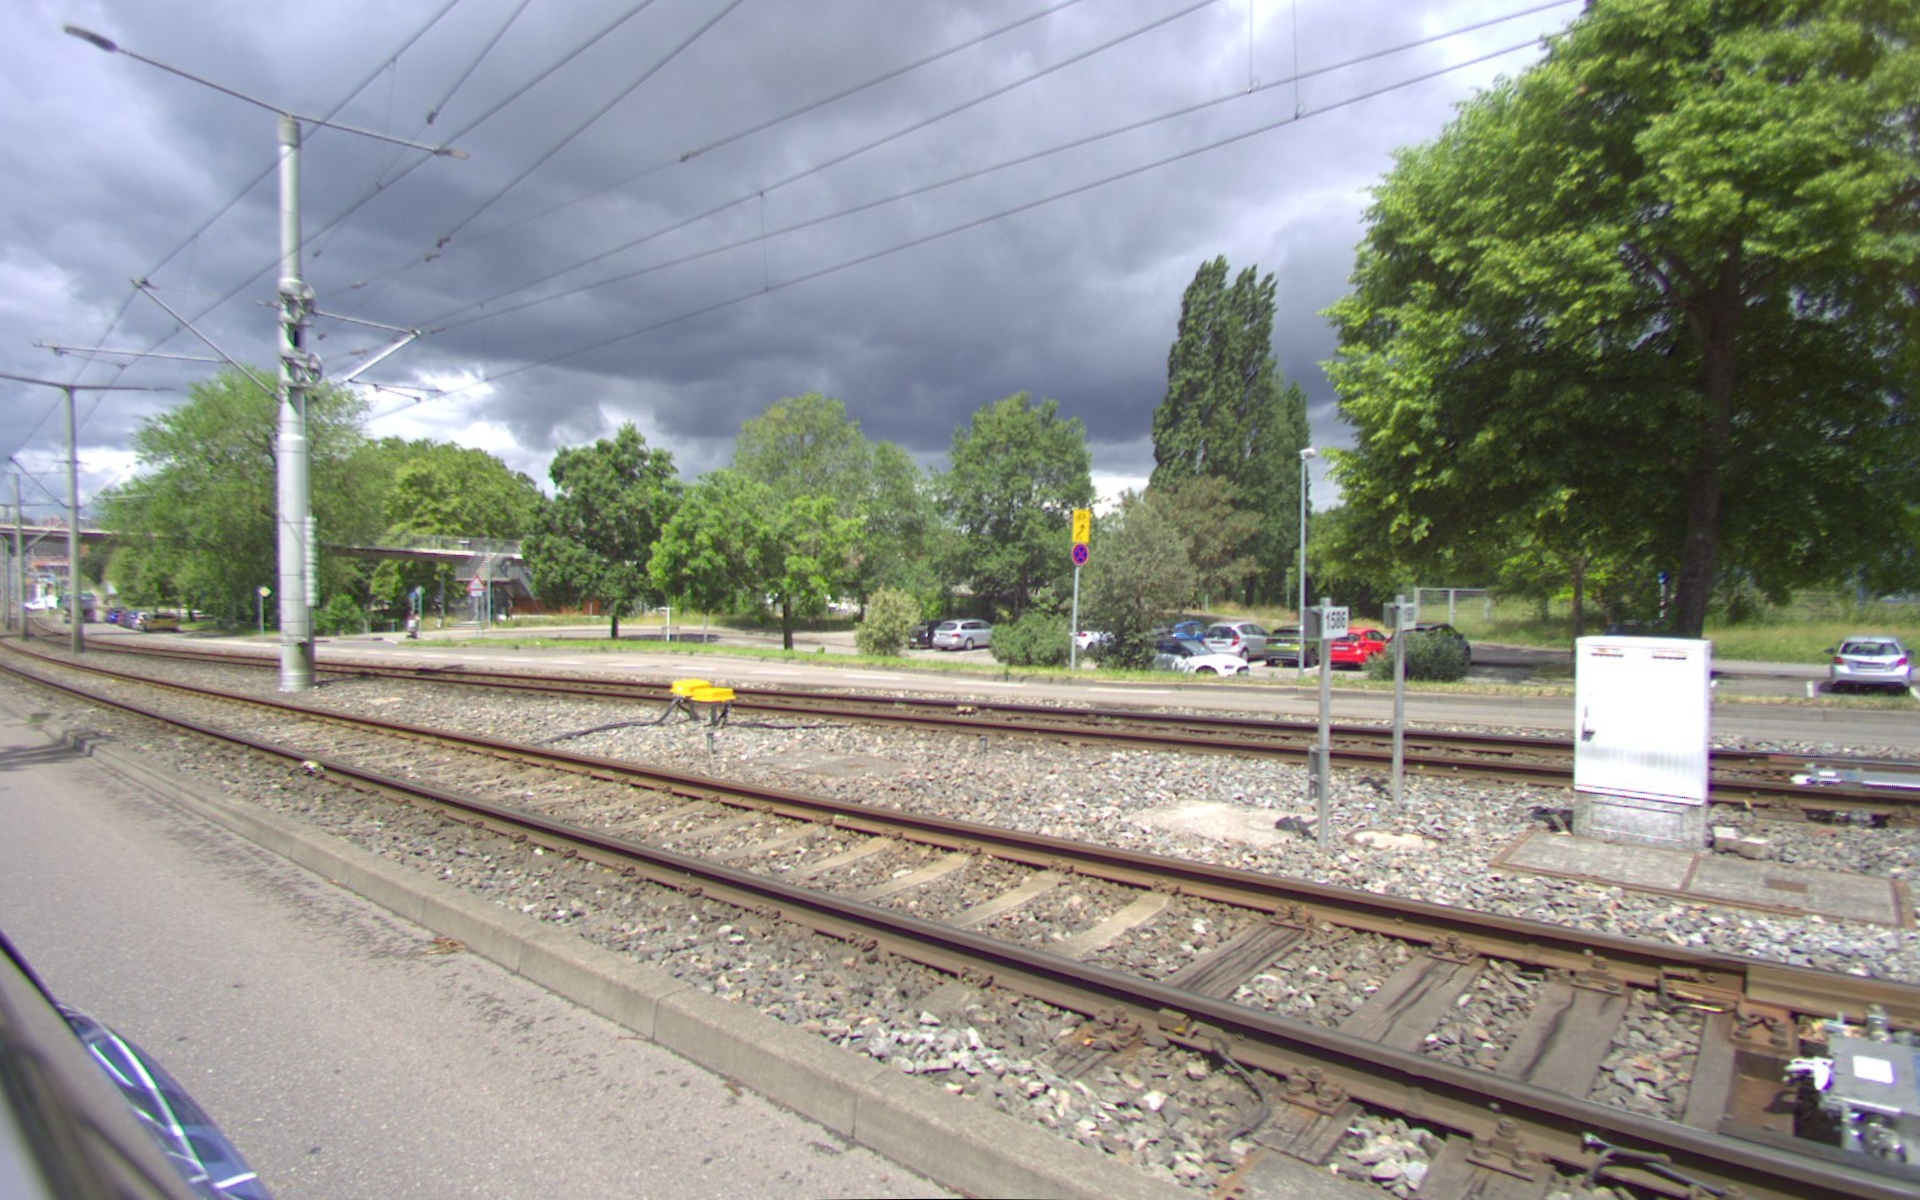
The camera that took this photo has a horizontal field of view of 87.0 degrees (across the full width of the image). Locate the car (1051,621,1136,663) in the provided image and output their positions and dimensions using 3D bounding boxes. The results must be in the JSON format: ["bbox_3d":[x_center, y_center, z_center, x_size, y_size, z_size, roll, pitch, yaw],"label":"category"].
[{"bbox_3d":[5.974,1.836,45.011,1.842,1.592,3.874,-2,0,42],"label":"car"}]

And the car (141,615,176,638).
[{"bbox_3d":[-59.009,1.944,74.482,1.669,1.461,3.903,-3,3,-43],"label":"car"}]

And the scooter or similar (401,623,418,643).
[{"bbox_3d":[-33.005,1.985,60.717,0.702,1.155,0.789,-3,3,-42],"label":"scooter or similar"}]

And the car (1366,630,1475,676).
[{"bbox_3d":[16.067,1.810,35.227,4.034,1.261,1.998,-3,0,-43],"label":"car"}]

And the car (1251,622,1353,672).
[{"bbox_3d":[13.017,1.728,38.447,3.907,1.592,1.998,-3,0,-43],"label":"car"}]

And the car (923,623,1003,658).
[{"bbox_3d":[0.174,1.954,49.366,3.822,1.401,1.576,-3,3,-41],"label":"car"}]

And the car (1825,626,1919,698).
[{"bbox_3d":[25.311,1.629,27.716,3.938,1.611,1.862,-3,1,-40],"label":"car"}]

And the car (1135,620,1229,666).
[{"bbox_3d":[9.249,1.743,41.954,3.907,1.592,1.871,-3,0,-43],"label":"car"}]

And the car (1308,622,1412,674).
[{"bbox_3d":[14.604,1.712,36.872,3.907,1.592,1.998,-3,0,-43],"label":"car"}]

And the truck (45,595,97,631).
[{"bbox_3d":[-91.197,1.285,103.724,9.028,3.344,2.841,1,3,42],"label":"truck"}]

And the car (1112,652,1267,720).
[{"bbox_3d":[6.873,2.520,30.477,4.066,1.768,1.969,-2,0,41],"label":"car"}]

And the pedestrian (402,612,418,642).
[{"bbox_3d":[-33.457,1.642,61.560,0.653,1.768,0.718,-3,3,-43],"label":"pedestrian"}]

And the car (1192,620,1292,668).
[{"bbox_3d":[11.199,1.708,40.056,3.907,1.592,1.996,-3,0,-43],"label":"car"}]

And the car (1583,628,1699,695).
[{"bbox_3d":[20.327,1.769,30.162,3.551,1.649,1.954,-3,1,-40],"label":"car"}]
